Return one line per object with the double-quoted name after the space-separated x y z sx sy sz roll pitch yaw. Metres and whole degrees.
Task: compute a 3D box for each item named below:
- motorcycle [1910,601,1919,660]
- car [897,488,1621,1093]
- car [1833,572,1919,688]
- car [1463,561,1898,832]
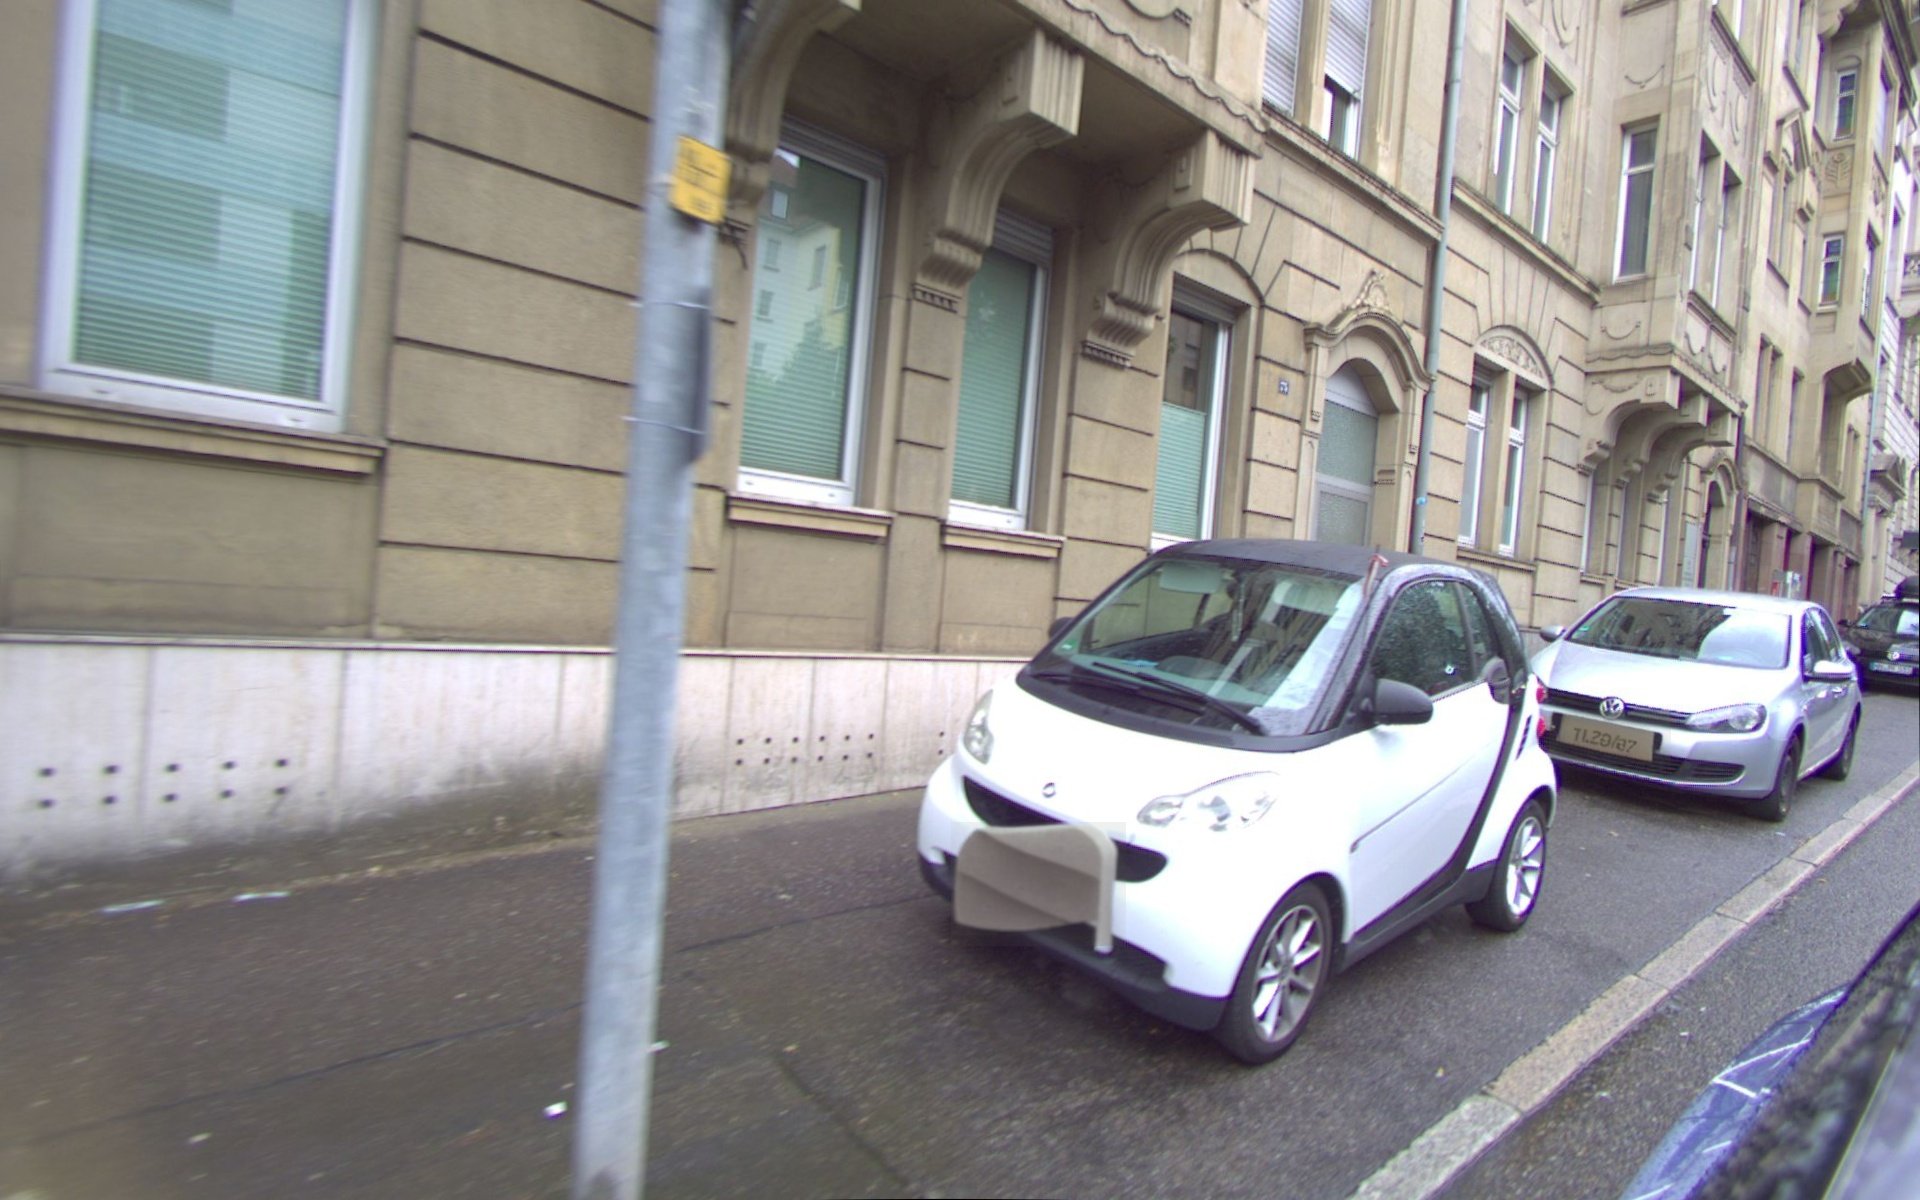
21.742 0.751 21.626 2.233 1.258 0.525 5 3 0 "motorcycle"
1.352 0.464 4.086 2.923 1.561 1.303 0 6 -41 "car"
16.167 0.502 16.787 4.025 1.670 1.765 1 6 -40 "car"
5.783 0.559 7.949 3.929 1.468 1.765 0 6 -41 "car"
